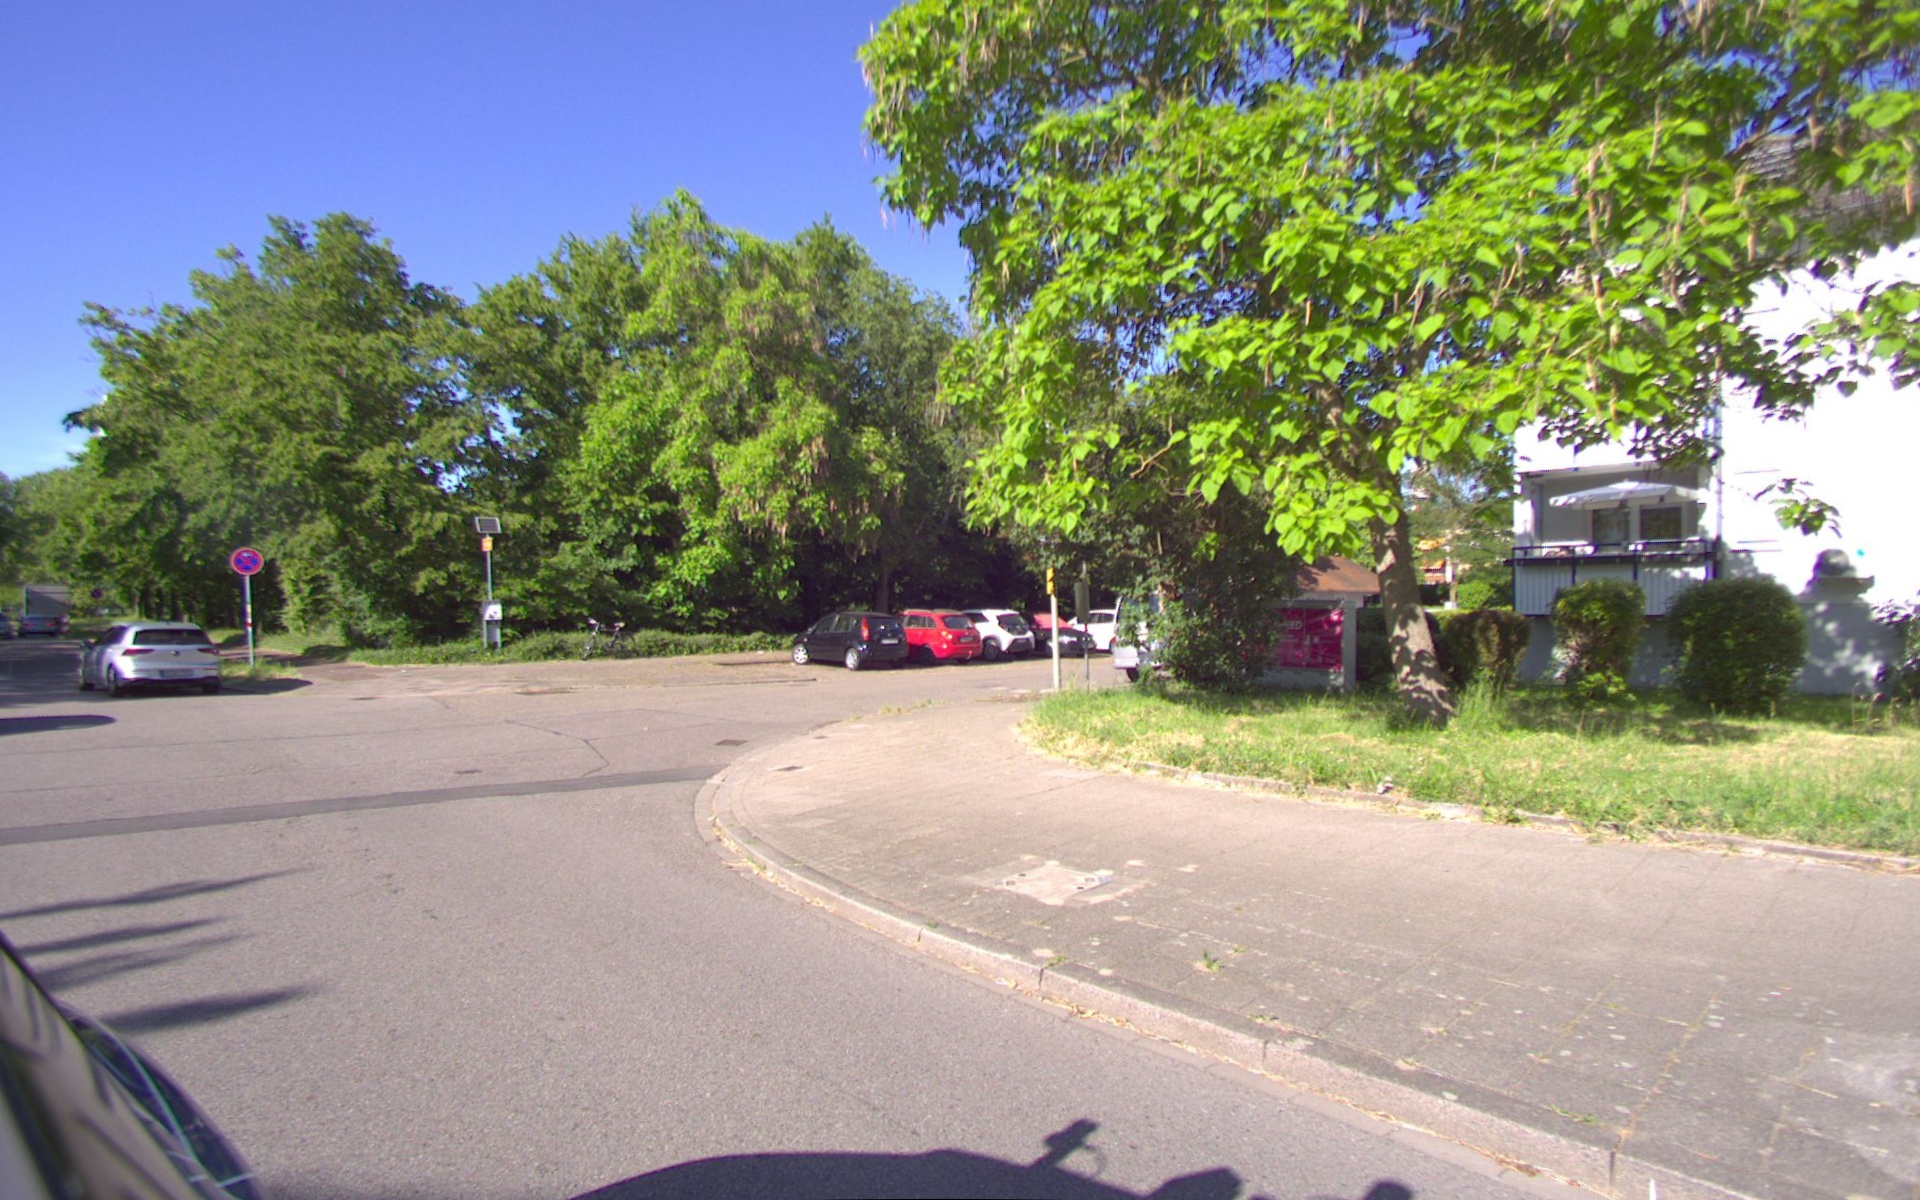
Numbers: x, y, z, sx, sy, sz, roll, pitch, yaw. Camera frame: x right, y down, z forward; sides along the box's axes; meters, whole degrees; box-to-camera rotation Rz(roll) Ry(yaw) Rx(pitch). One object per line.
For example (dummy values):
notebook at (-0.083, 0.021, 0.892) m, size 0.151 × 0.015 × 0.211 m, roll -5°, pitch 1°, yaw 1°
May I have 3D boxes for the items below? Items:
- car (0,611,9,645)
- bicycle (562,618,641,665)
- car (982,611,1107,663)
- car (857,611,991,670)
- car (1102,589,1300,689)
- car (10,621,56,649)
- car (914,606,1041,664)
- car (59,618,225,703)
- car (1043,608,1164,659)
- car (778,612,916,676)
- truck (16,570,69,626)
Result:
car at (-52.832, 1.513, 54.882) m, size 1.819 × 1.819 × 4.032 m, roll -1°, pitch 0°, yaw -44°
bicycle at (-9.666, 1.094, 27.292) m, size 1.873 × 1.161 × 0.762 m, roll 0°, pitch 2°, yaw -34°
car at (2.691, 1.152, 32.813) m, size 1.650 × 1.498 × 3.888 m, roll 0°, pitch 0°, yaw -44°
car at (-1.088, 1.106, 28.853) m, size 1.650 × 1.498 × 3.888 m, roll 0°, pitch 0°, yaw -44°
car at (5.395, 0.827, 22.414) m, size 4.396 × 1.984 × 2.072 m, roll 1°, pitch -2°, yaw -41°
car at (-57.091, 2.113, 62.313) m, size 1.970 × 1.597 × 4.003 m, roll 0°, pitch -1°, yaw -44°
car at (0.492, 1.026, 31.340) m, size 1.650 × 1.615 × 3.888 m, roll 0°, pitch 0°, yaw -44°
car at (-16.699, 1.164, 20.596) m, size 4.182 × 1.478 × 1.646 m, roll 1°, pitch -1°, yaw 37°
car at (4.876, 1.106, 34.724) m, size 1.650 × 1.569 × 3.888 m, roll 0°, pitch 0°, yaw -44°
car at (-3.085, 1.120, 27.199) m, size 1.650 × 1.498 × 3.888 m, roll 0°, pitch 0°, yaw -44°
truck at (-70.640, -0.148, 77.871) m, size 2.763 × 4.049 × 9.636 m, roll 2°, pitch -1°, yaw -43°
